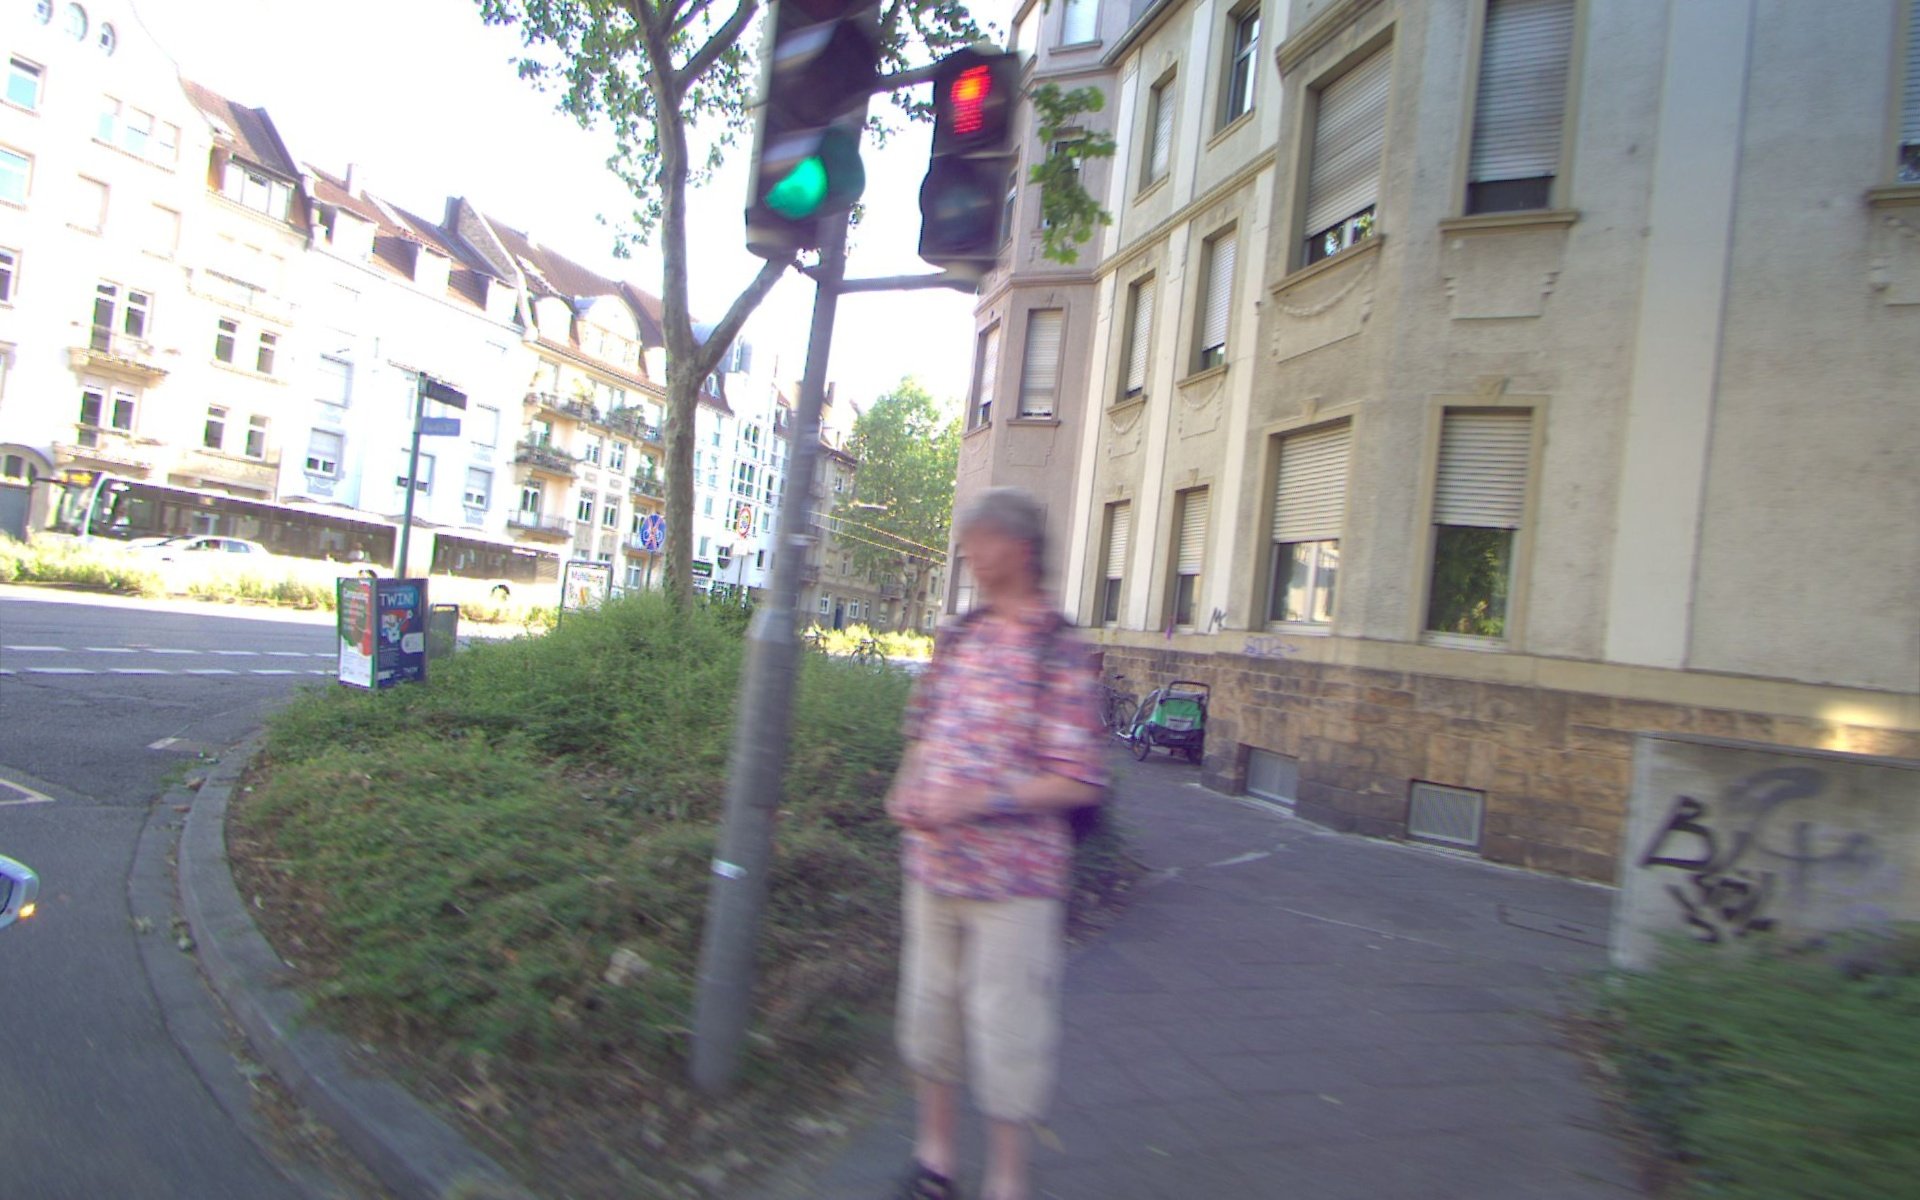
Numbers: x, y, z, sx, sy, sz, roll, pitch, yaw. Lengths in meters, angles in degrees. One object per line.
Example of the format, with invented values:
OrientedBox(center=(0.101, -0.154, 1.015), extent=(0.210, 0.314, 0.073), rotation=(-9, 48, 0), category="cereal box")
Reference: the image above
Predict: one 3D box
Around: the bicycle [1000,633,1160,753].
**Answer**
OrientedBox(center=(1.728, 1.344, 15.366), extent=(0.940, 1.488, 3.146), rotation=(8, -3, -20), category="bicycle")

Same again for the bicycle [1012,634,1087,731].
OrientedBox(center=(1.435, 1.307, 16.460), extent=(0.365, 1.411, 1.926), rotation=(7, -2, -17), category="bicycle")

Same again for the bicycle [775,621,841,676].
OrientedBox(center=(-3.279, 1.079, 21.842), extent=(0.364, 1.081, 1.874), rotation=(6, -2, 24), category="bicycle")

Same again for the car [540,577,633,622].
OrientedBox(center=(-20.517, 0.020, 55.515), extent=(1.877, 1.806, 4.655), rotation=(6, -3, 26), category="car")

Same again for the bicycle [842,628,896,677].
OrientedBox(center=(-2.206, 1.313, 24.718), extent=(0.430, 1.111, 1.933), rotation=(7, -2, 20), category="bicycle")

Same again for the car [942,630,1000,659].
OrientedBox(center=(1.031, 4.283, 97.071), extent=(5.170, 2.090, 1.716), rotation=(8, -2, -18), category="car")

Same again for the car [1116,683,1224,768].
OrientedBox(center=(2.690, 1.599, 12.966), extent=(0.912, 0.960, 1.061), rotation=(4, -1, -18), category="car")

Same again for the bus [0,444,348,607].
OrientedBox(center=(-25.344, -2.123, 31.758), extent=(3.218, 3.411, 9.904), rotation=(6, -3, 25), category="bus")

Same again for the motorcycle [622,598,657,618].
OrientedBox(center=(-20.523, 0.538, 64.488), extent=(0.520, 1.033, 2.421), rotation=(9, -1, 24), category="motorcycle")

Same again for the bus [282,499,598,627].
OrientedBox(center=(-20.823, -1.230, 41.746), extent=(3.207, 3.411, 11.984), rotation=(6, -3, 25), category="bus")

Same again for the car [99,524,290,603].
OrientedBox(center=(-22.905, -1.049, 30.258), extent=(1.903, 1.702, 4.000), rotation=(6, -3, 27), category="car")

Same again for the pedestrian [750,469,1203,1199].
OrientedBox(center=(0.066, 0.663, 2.481), extent=(0.655, 1.827, 0.701), rotation=(6, -2, 32), category="pedestrian")
